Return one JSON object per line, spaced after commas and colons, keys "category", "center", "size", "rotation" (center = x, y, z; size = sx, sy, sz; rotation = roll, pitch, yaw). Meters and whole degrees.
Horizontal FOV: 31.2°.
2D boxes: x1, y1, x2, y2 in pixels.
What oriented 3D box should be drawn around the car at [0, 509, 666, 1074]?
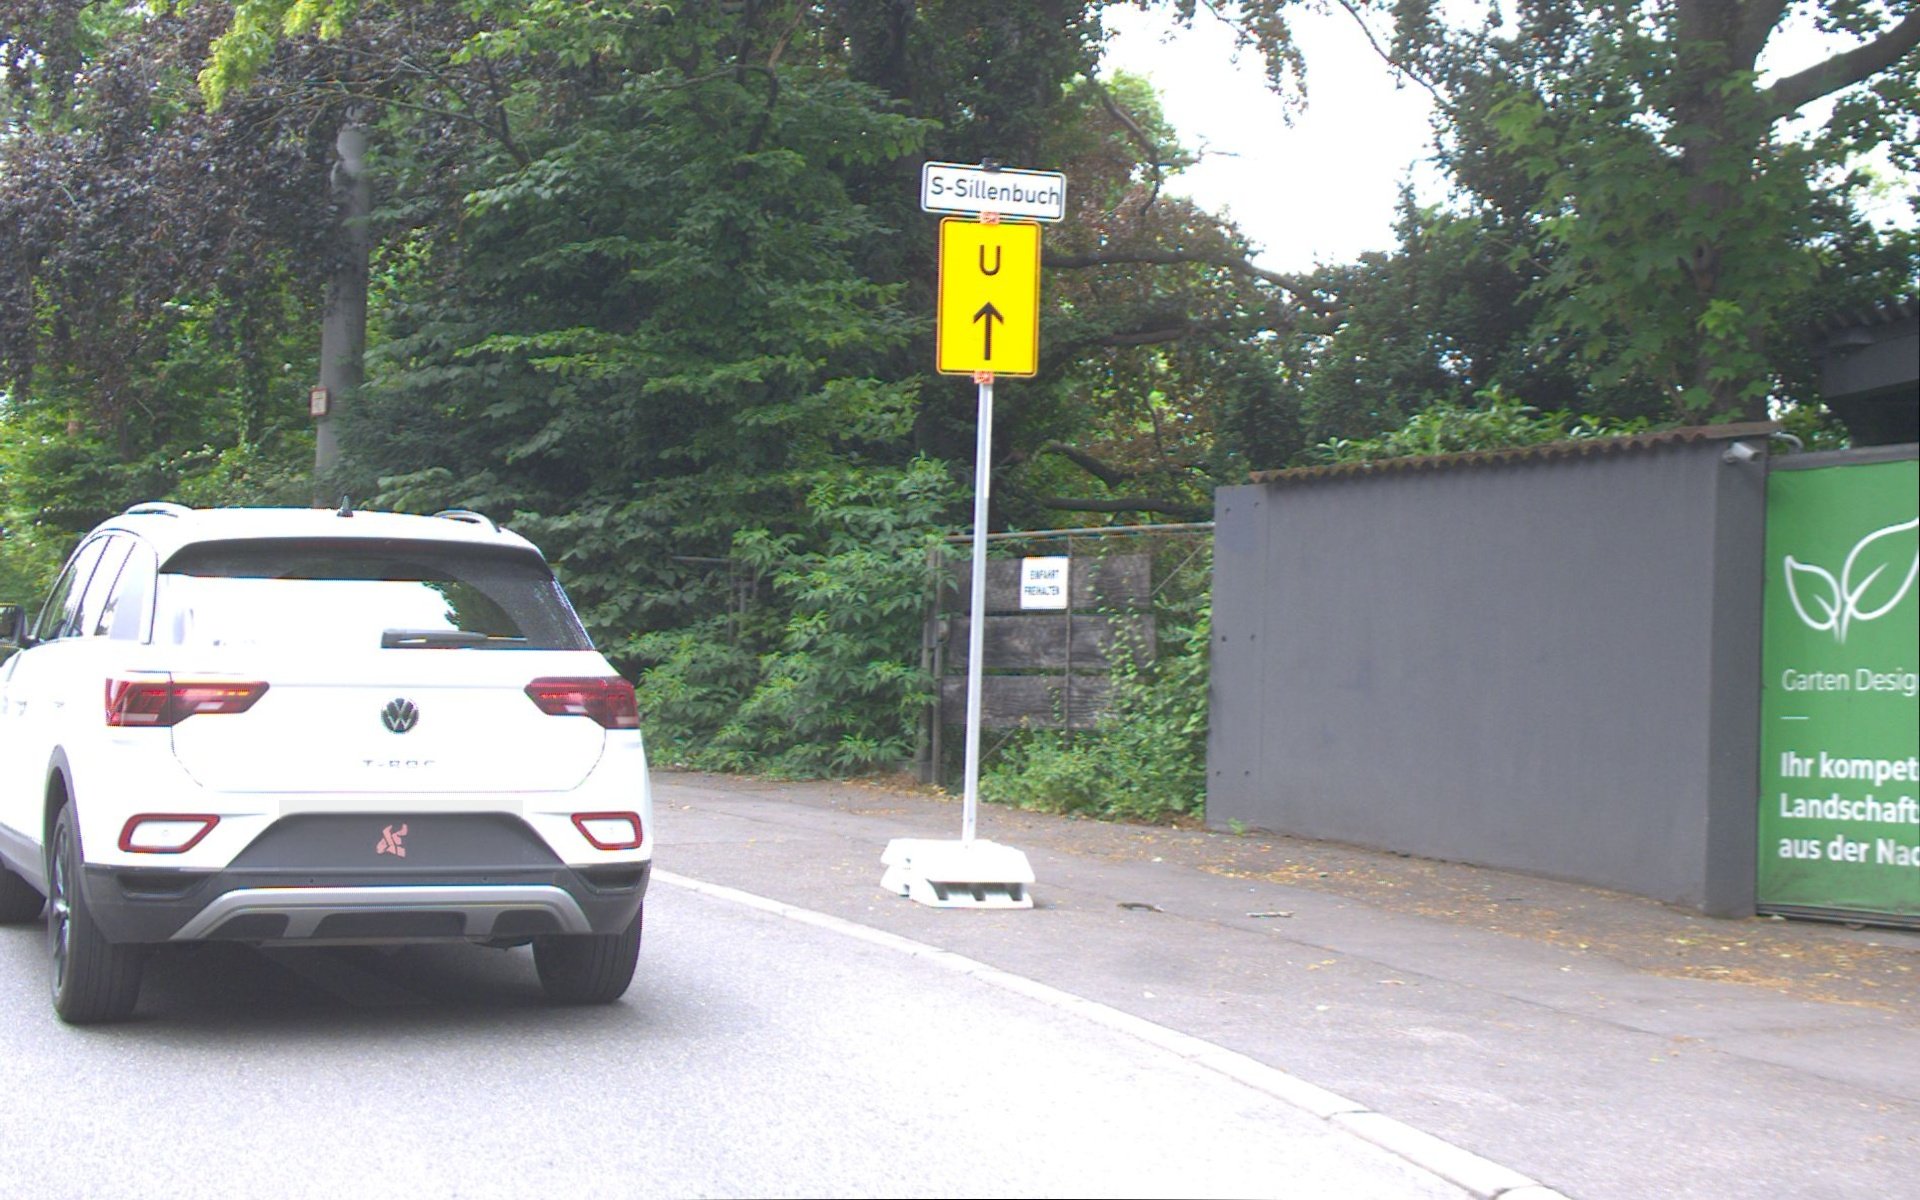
{"category": "car", "center": [-2.428, 0.479, 11.834], "size": [1.754, 1.547, 4.339], "rotation": [0, 2, -20]}
